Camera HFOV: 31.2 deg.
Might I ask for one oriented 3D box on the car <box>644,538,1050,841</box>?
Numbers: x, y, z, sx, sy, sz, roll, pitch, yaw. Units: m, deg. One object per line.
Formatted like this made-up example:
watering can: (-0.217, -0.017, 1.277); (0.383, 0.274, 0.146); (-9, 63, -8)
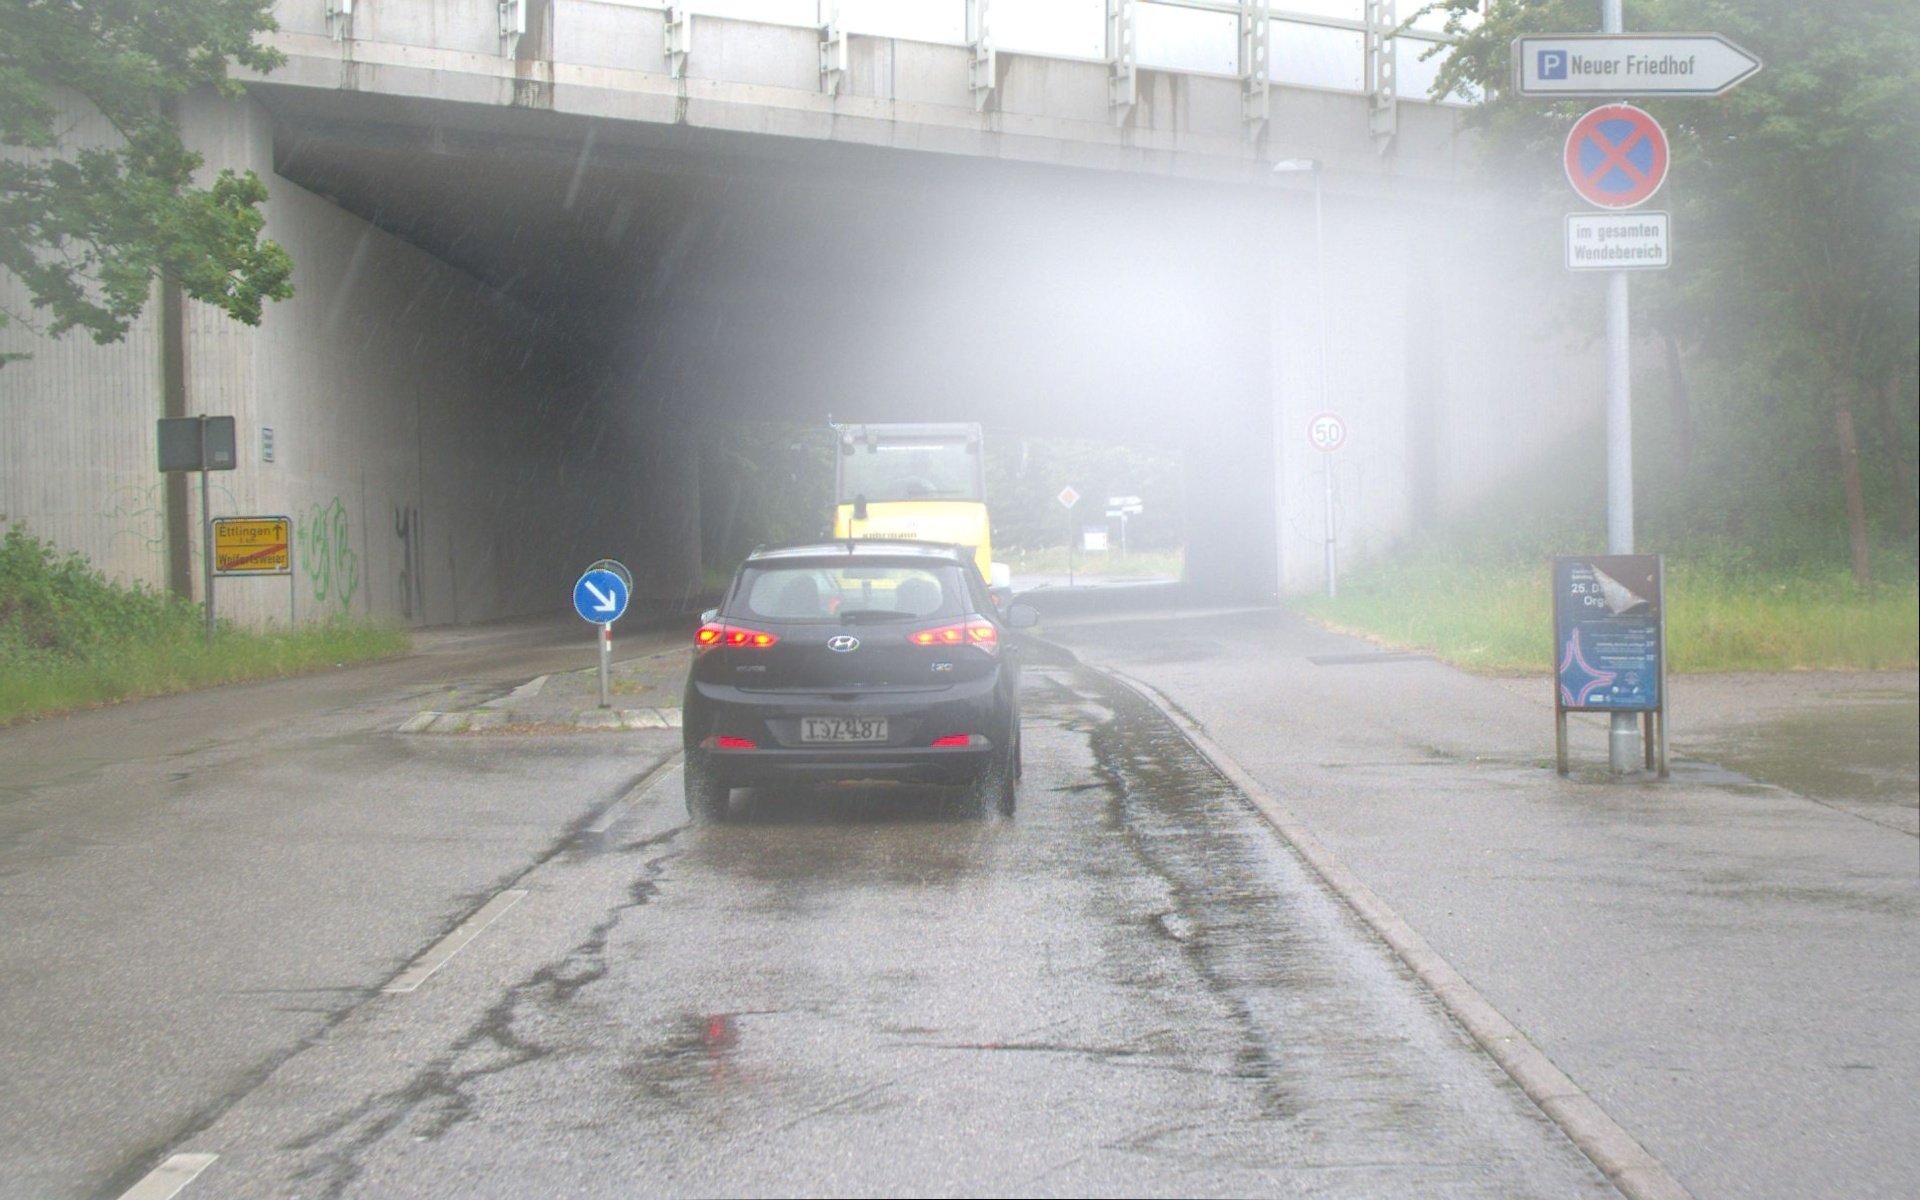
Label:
car: (-0.596, 0.410, 18.973); (1.993, 1.482, 4.000); (0, 1, -1)

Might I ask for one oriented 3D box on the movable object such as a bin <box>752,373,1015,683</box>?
movable object such as a bin: (-0.724, -0.675, 32.984); (2.245, 2.660, 6.627); (0, 1, -1)
